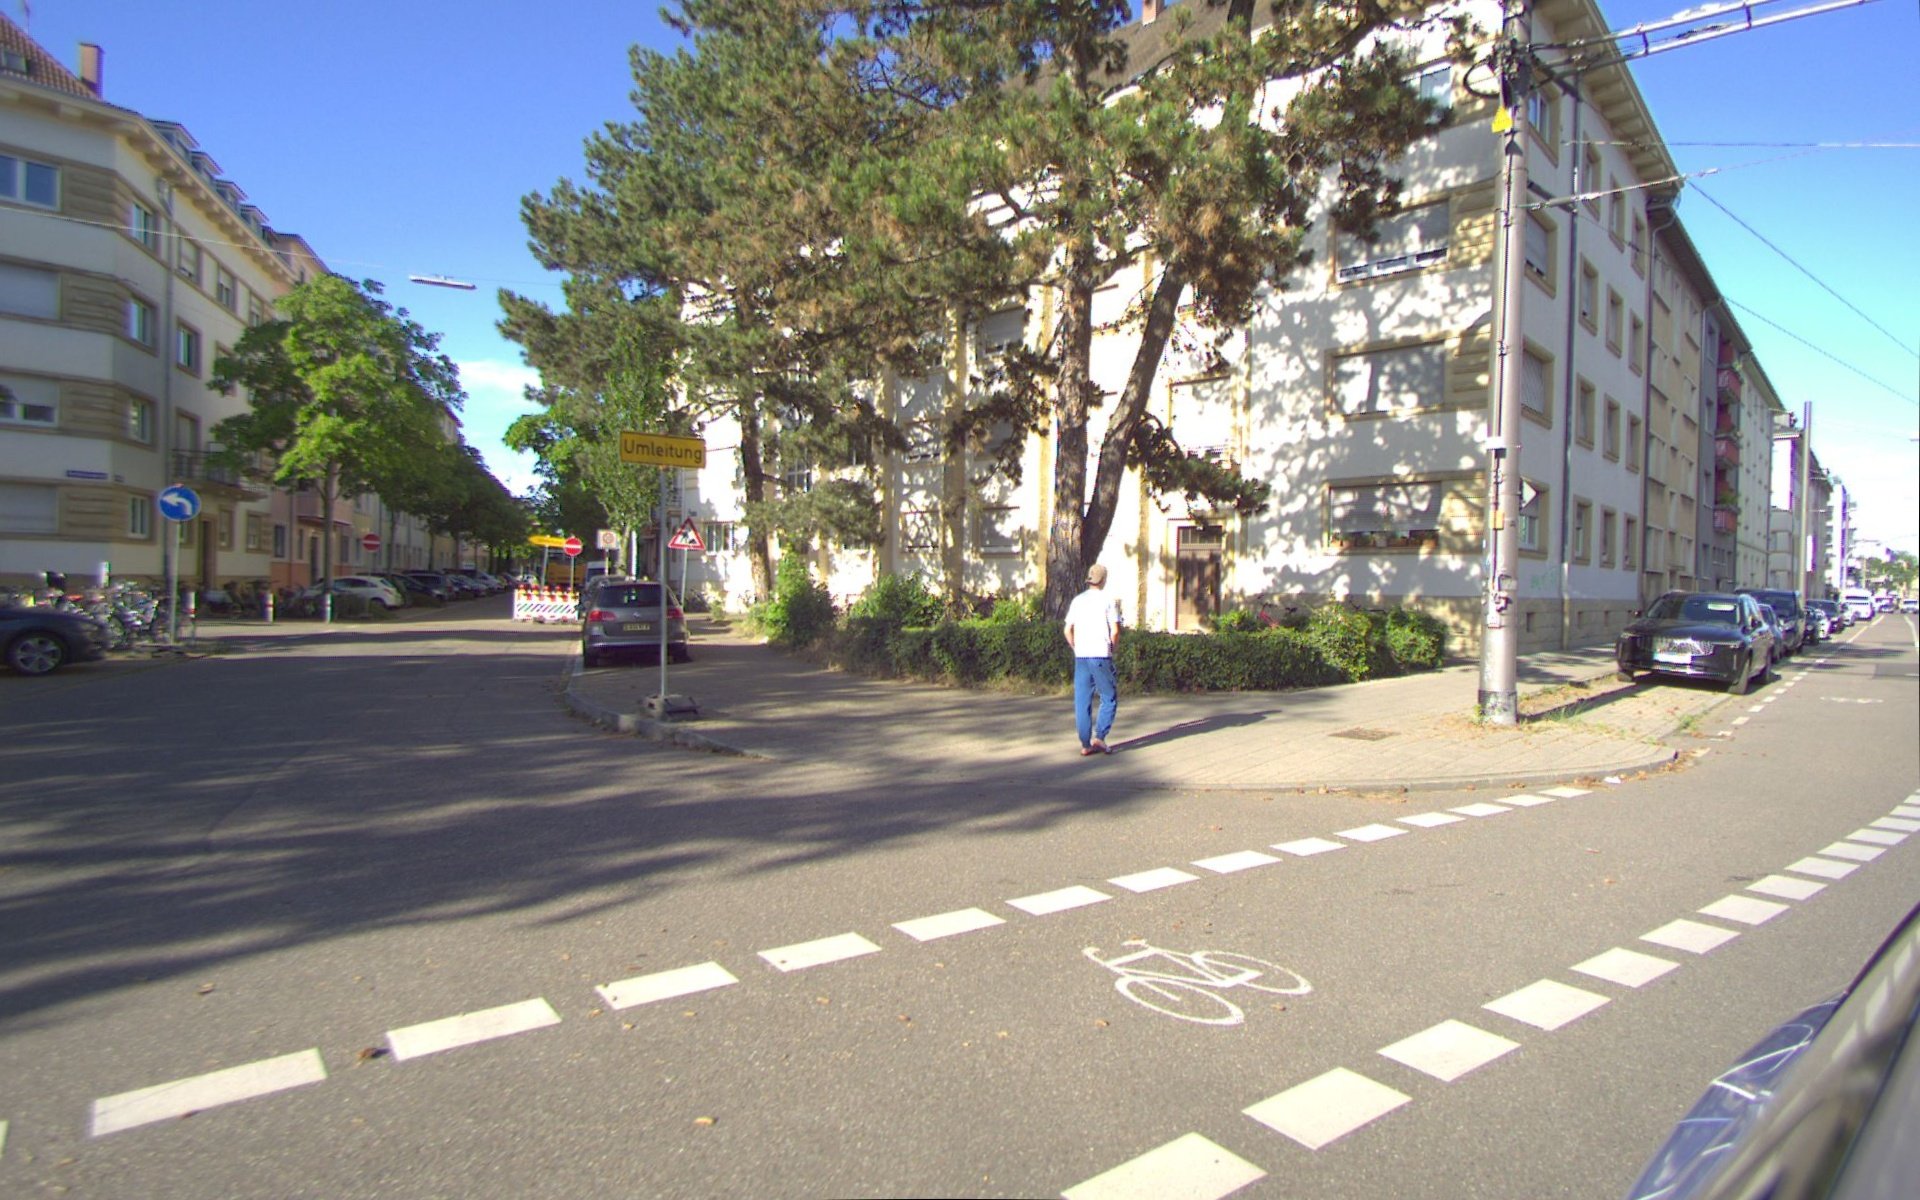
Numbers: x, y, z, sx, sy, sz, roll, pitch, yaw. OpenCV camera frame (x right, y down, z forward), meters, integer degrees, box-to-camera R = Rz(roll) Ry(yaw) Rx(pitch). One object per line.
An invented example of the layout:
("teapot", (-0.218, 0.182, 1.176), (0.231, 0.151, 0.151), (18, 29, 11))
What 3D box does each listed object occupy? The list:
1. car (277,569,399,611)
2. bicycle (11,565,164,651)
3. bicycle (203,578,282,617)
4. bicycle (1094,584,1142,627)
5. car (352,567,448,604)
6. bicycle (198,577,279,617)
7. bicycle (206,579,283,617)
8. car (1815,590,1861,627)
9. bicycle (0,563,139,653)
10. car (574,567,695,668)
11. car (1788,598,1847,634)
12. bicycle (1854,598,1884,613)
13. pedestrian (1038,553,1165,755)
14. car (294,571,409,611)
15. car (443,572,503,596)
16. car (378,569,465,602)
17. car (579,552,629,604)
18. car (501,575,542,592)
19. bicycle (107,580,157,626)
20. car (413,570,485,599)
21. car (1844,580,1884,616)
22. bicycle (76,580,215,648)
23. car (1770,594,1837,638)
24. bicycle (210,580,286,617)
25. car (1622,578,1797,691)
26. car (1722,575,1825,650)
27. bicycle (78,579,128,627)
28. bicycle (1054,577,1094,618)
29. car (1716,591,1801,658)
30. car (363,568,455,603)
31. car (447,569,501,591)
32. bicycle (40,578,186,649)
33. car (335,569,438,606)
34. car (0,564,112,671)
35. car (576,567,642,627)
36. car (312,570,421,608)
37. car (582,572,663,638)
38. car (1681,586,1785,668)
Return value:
("car", (-25.285, -0.405, 41.296), (3.916, 1.572, 1.821), (-1, -1, -19))
("bicycle", (-15.746, 0.144, 18.293), (2.293, 1.477, 0.560), (-1, -1, 1))
("bicycle", (-23.306, -0.083, 32.906), (2.020, 1.204, 0.597), (-1, -1, -30))
("bicycle", (4.379, 0.140, 28.135), (0.384, 1.126, 1.385), (0, 3, -41))
("car", (-28.009, -0.712, 50.738), (3.916, 1.727, 2.004), (-1, -1, -19))
("bicycle", (-22.906, -0.098, 32.162), (2.020, 1.204, 0.597), (-1, -1, -30))
("bicycle", (-23.700, -0.069, 33.546), (2.020, 1.204, 0.597), (-1, -1, -30))
("car", (44.715, 0.391, 51.552), (1.635, 1.667, 4.309), (5, 4, 41))
("bicycle", (-15.565, 0.134, 17.270), (2.288, 1.477, 0.756), (-1, -1, -15))
("car", (-6.080, 0.208, 18.599), (1.733, 1.519, 4.315), (-3, 3, -22))
("car", (37.240, 0.639, 43.898), (1.703, 1.290, 4.237), (6, 5, 42))
("bicycle", (70.178, 0.403, 78.173), (0.477, 1.101, 2.027), (-1, 0, 1))
("pedestrian", (1.292, 0.455, 9.296), (0.712, 1.743, 0.882), (0, 1, -40))
("car", (-25.972, -0.375, 43.314), (3.916, 1.572, 1.821), (-1, -1, -19))
("car", (-37.166, -1.231, 77.355), (3.916, 1.727, 2.004), (-1, -1, -19))
("car", (-29.569, -0.787, 55.689), (3.916, 1.727, 2.004), (-1, -1, -19))
("car", (-18.487, -1.087, 52.416), (2.082, 2.474, 5.327), (-1, -1, -23))
("car", (-47.763, -1.796, 110.332), (3.916, 1.727, 2.004), (-1, -1, -19))
("bicycle", (-22.322, 0.089, 27.260), (2.050, 1.204, 0.589), (-2, -1, 38))
("car", (-33.328, -1.003, 66.140), (3.916, 1.727, 2.004), (-1, -1, -19))
("car", (73.428, -0.237, 82.131), (2.151, 2.729, 6.194), (4, 3, 43))
("bicycle", (-15.727, 0.274, 19.560), (2.294, 1.233, 0.554), (-1, -1, 3))
("car", (32.073, 0.568, 38.467), (1.636, 1.471, 3.730), (5, 4, 44))
("bicycle", (-24.005, -0.068, 34.150), (2.020, 1.204, 0.597), (-1, -1, -30))
("car", (14.131, 0.516, 18.956), (1.880, 1.737, 4.855), (6, 5, 44))
("car", (24.215, 0.295, 30.050), (1.914, 1.922, 5.055), (6, 5, 43))
("bicycle", (-22.665, 0.094, 26.760), (2.050, 1.204, 0.589), (-2, -1, 38))
("bicycle", (3.301, -0.079, 29.325), (0.383, 1.126, 1.389), (0, 3, -30))
("car", (20.918, 0.569, 26.467), (1.509, 1.496, 4.176), (3, 3, 41))
("car", (-28.805, -0.767, 53.031), (3.916, 1.727, 2.004), (-1, -1, -19))
("car", (-41.200, -1.721, 85.945), (3.916, 1.727, 2.004), (-1, -1, -19))
("bicycle", (-15.812, 0.255, 18.920), (2.293, 1.242, 0.560), (-1, -1, 2))
("car", (-26.878, -0.582, 47.564), (3.916, 1.572, 2.004), (-1, -1, -19))
("car", (-14.419, 0.233, 13.778), (1.632, 1.458, 4.183), (2, 2, 38))
("car", (-10.936, -0.112, 31.412), (1.732, 1.733, 3.920), (1, 0, -22))
("car", (-26.513, -0.475, 45.325), (3.916, 1.572, 1.821), (-1, -1, -19))
("car", (-8.790, 0.076, 26.146), (1.732, 1.487, 3.921), (1, 2, -22))
("car", (17.618, 0.526, 23.000), (1.593, 1.598, 3.839), (4, 4, 41))
